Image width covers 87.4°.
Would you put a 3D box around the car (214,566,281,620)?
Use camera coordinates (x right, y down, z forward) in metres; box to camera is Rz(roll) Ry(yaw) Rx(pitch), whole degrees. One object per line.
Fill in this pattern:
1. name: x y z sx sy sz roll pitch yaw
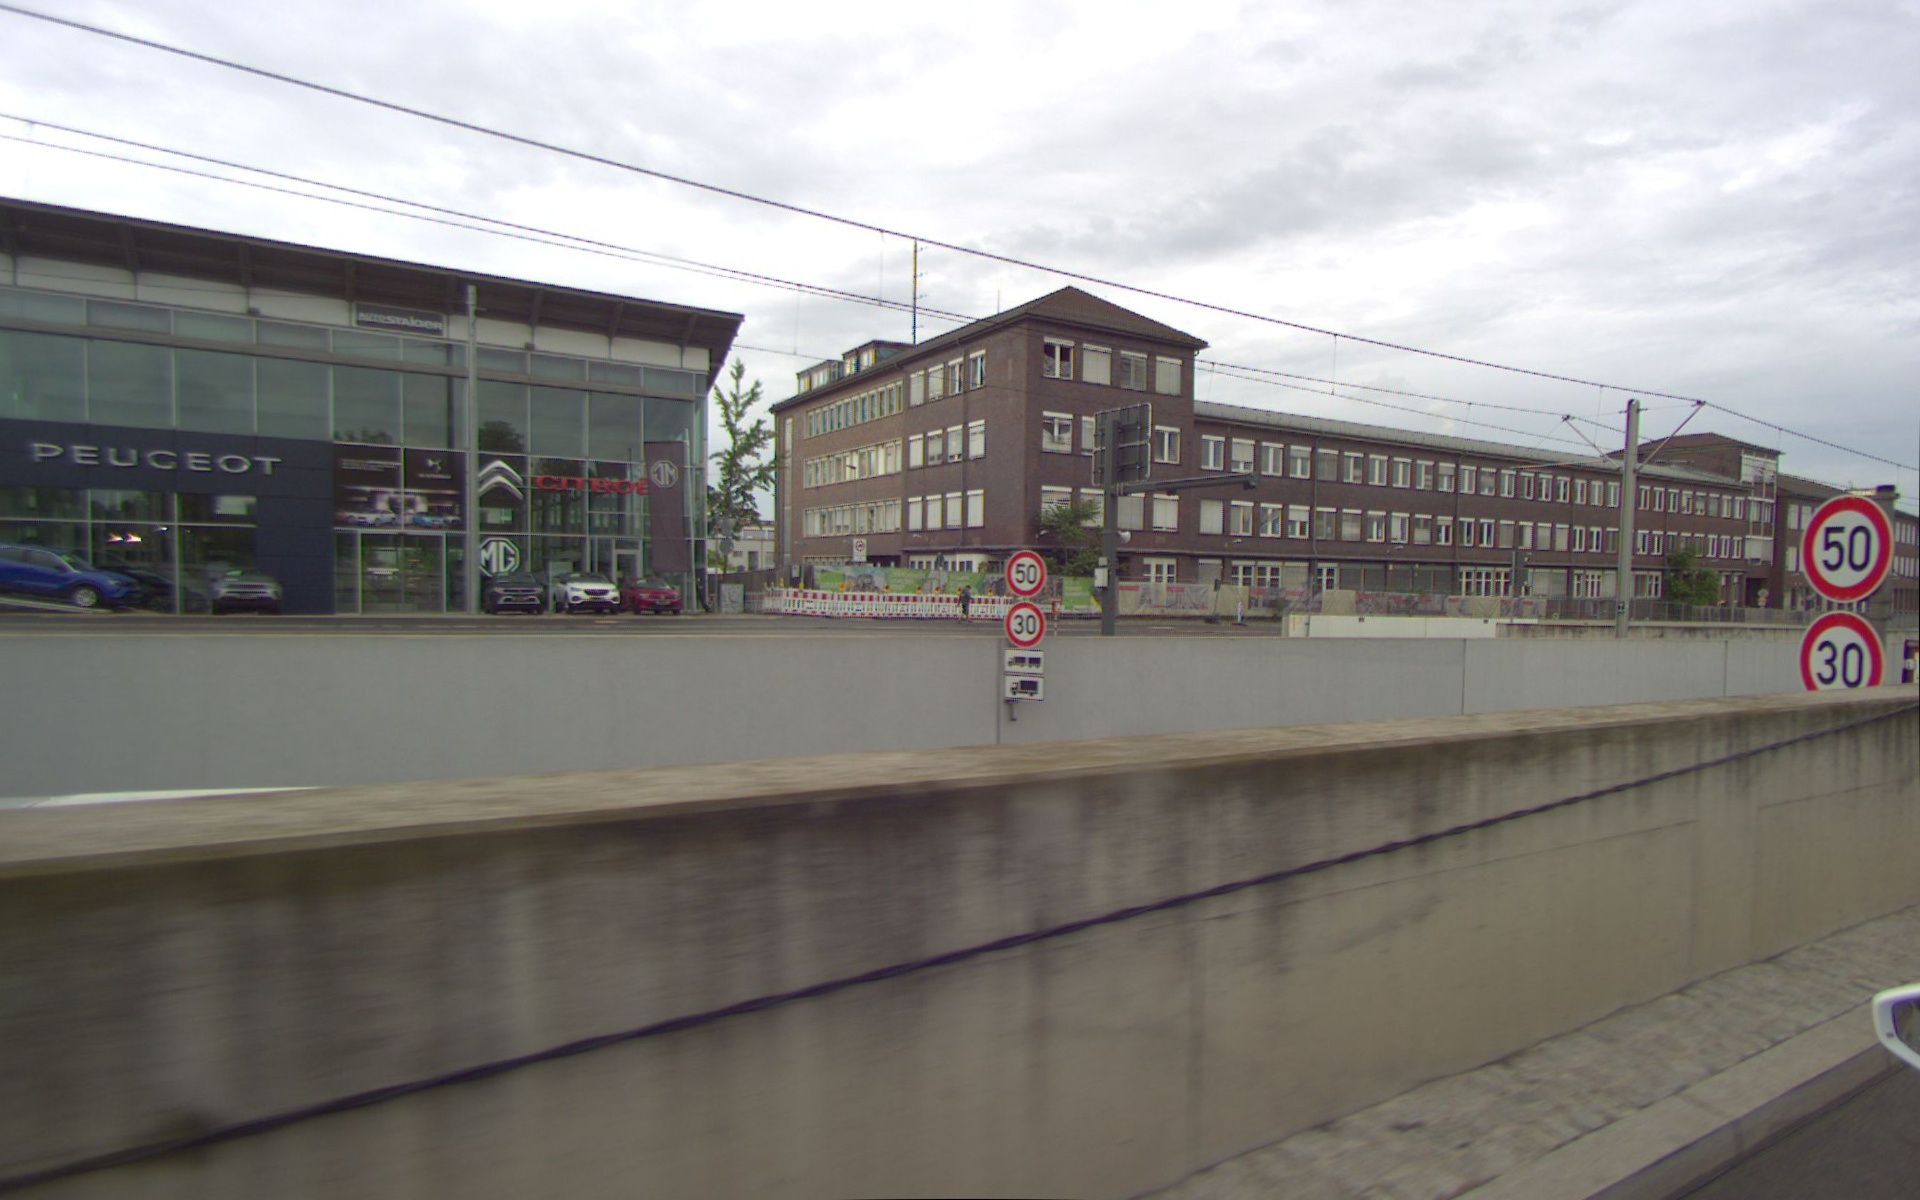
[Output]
1. car: -22.355 -0.192 31.584 1.558 1.421 3.484 0 -4 -33

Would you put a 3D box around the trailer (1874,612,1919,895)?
1. trailer: 20.686 2.441 17.907 13.028 4.309 2.749 1 0 -30

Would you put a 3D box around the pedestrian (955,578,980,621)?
1. pedestrian: 0.313 -0.019 41.905 0.830 1.774 0.612 1 1 -30

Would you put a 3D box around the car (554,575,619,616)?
1. car: -13.866 -0.183 37.170 1.729 1.416 3.463 1 0 -30

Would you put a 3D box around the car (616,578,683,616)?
1. car: -11.988 -0.097 38.714 1.601 1.400 3.460 1 0 -33

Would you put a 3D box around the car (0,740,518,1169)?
1. car: -5.534 2.171 6.581 4.662 1.985 1.900 1 1 -30

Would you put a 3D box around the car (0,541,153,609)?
1. car: -26.032 -0.736 28.829 4.012 1.630 1.757 5 0 -24

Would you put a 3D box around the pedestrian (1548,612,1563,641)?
1. pedestrian: 41.931 1.884 70.710 0.645 2.040 0.667 1 0 -33

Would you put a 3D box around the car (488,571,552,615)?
1. car: -15.788 -0.245 35.974 1.729 1.493 3.464 1 0 -30
